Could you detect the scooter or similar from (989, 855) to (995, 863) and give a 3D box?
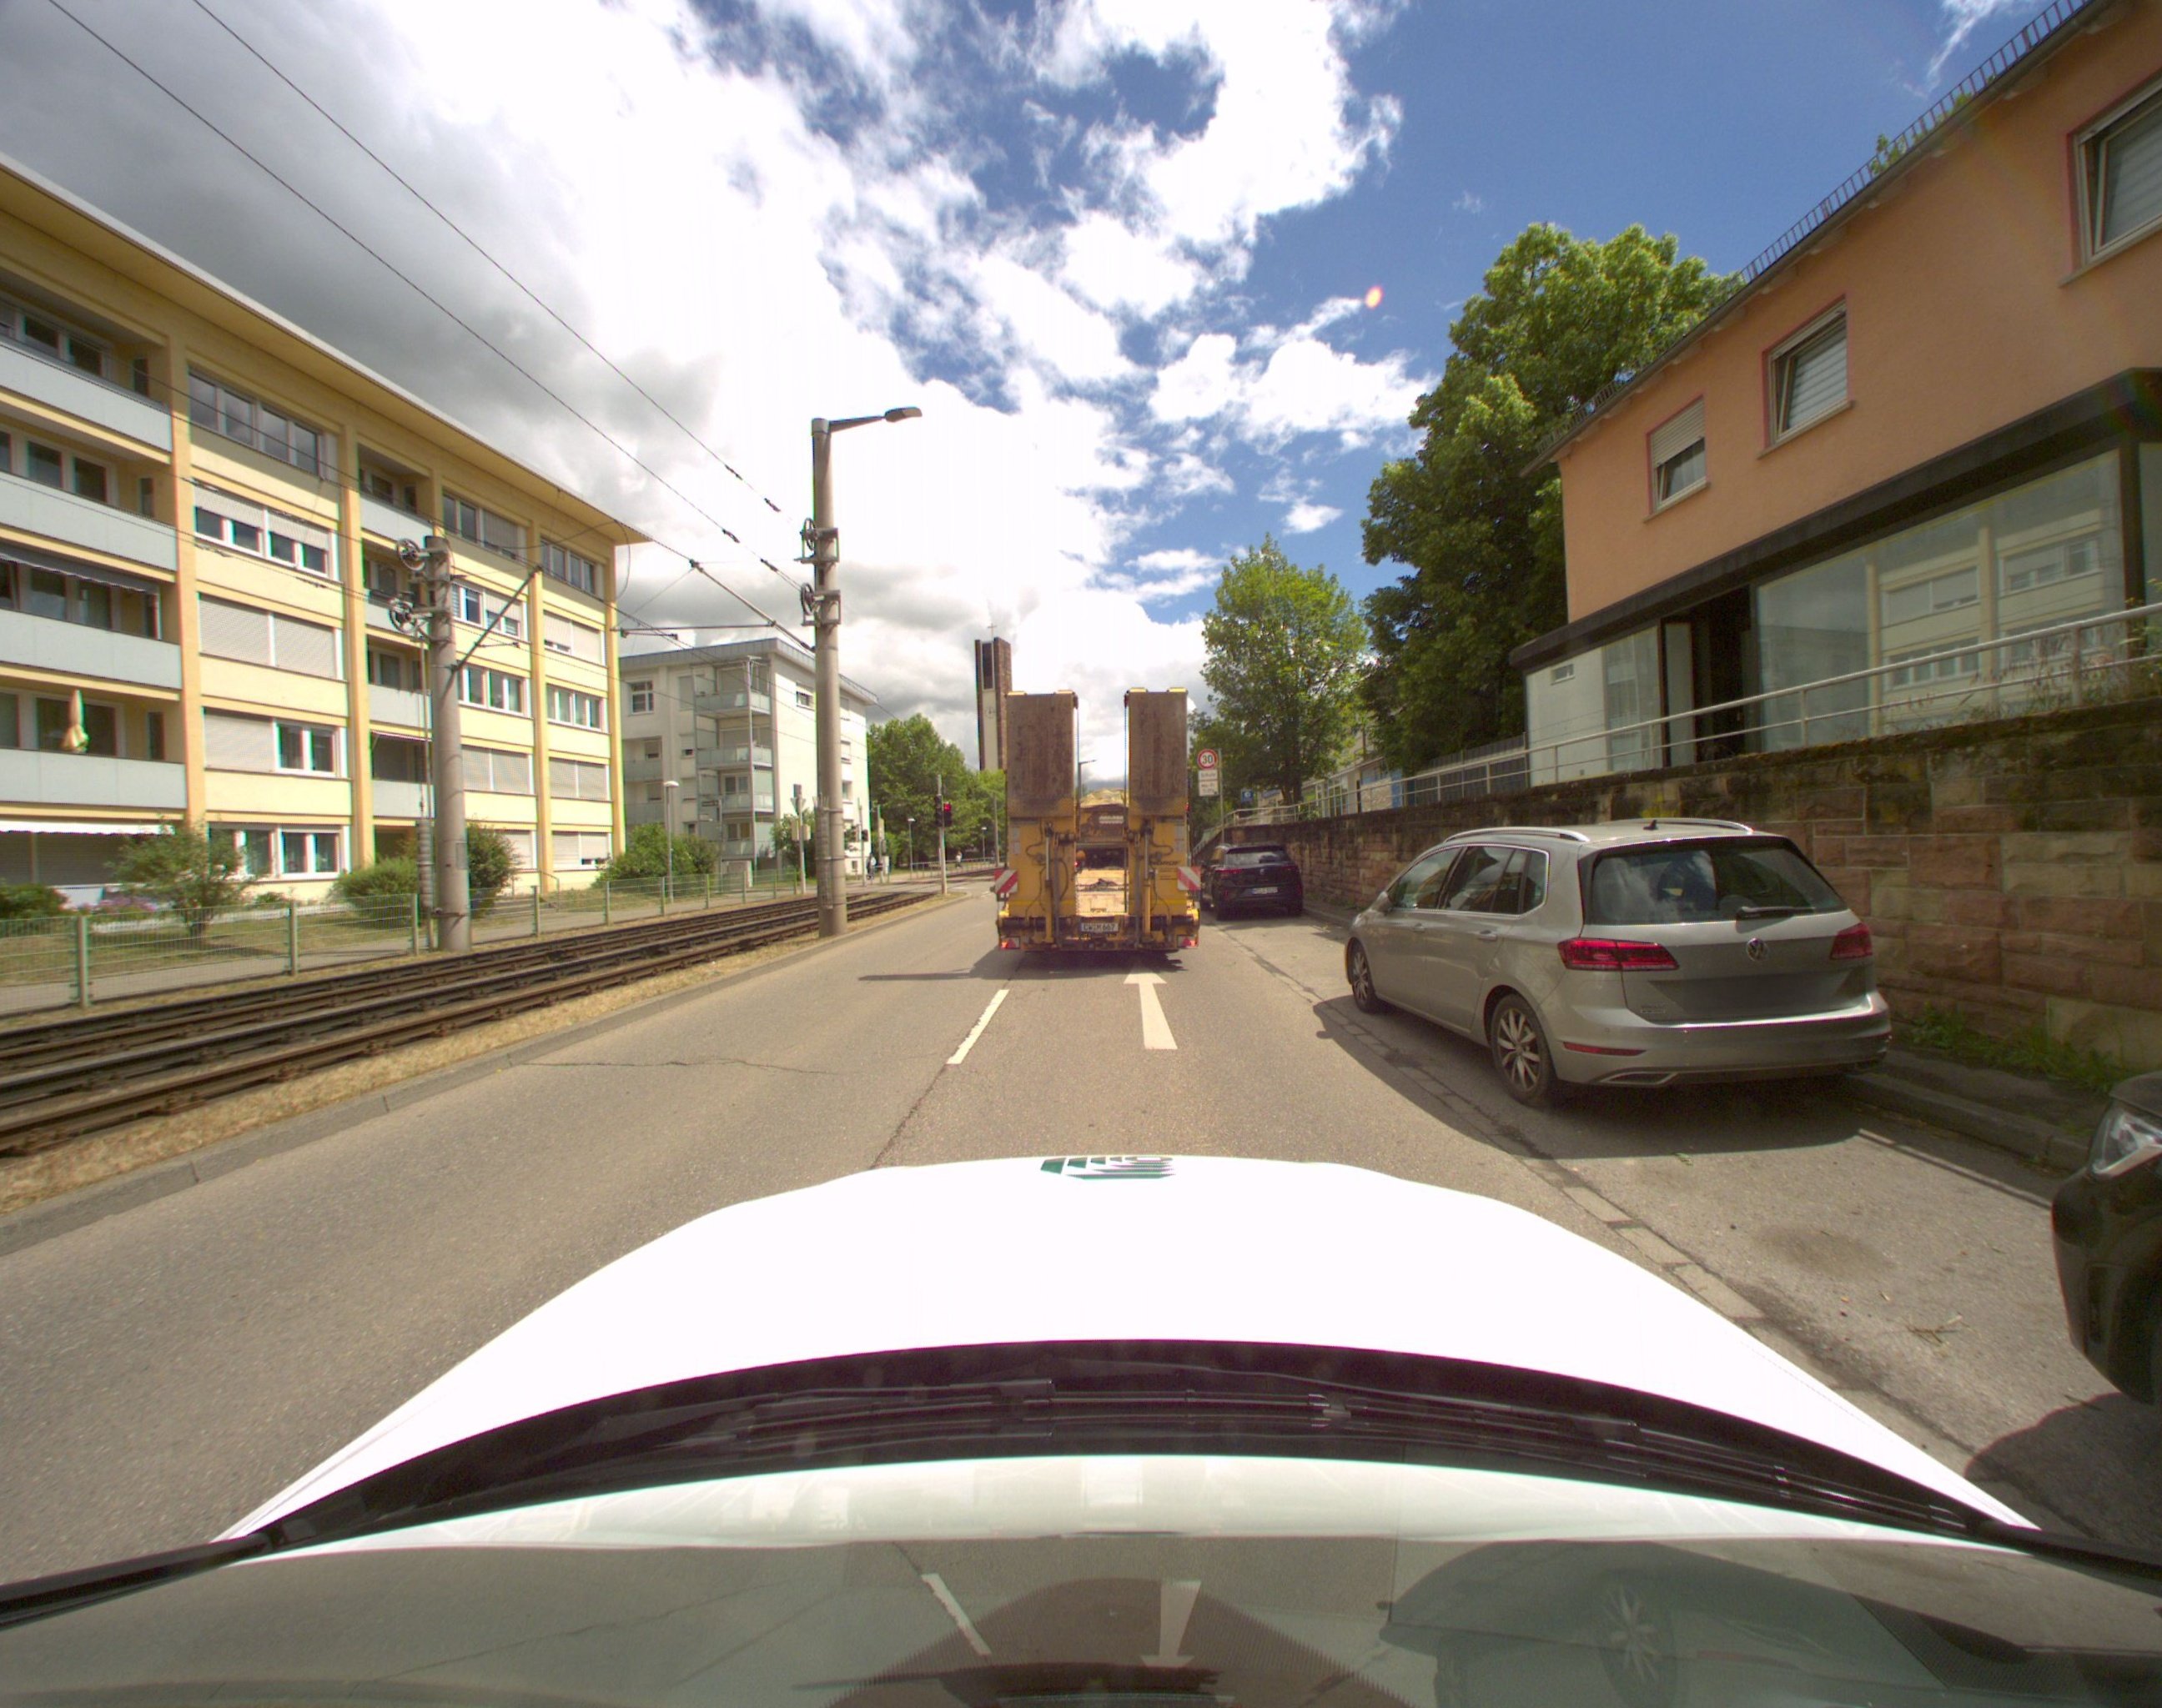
[{"bbox_3d":[-10.004,0.551,91.531,0.504,0.971,0.646,0,0,1],"label":"scooter or similar"}]

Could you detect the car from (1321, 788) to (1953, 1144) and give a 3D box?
[{"bbox_3d":[3.298,0.526,6.041,1.783,1.617,4.249,-3,0,1],"label":"car"}]

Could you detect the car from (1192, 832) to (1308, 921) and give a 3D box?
[{"bbox_3d":[3.607,0.434,18.043,1.843,1.639,4.003,-3,0,3],"label":"car"}]

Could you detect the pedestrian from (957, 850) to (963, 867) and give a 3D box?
[{"bbox_3d":[-11.235,0.420,75.771,0.346,1.537,0.558,-2,0,5],"label":"pedestrian"}]

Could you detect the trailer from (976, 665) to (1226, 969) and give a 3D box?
[{"bbox_3d":[0.455,-0.482,14.284,2.933,3.601,8.690,-2,0,3],"label":"trailer"}]

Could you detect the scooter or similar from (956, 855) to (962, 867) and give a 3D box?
[{"bbox_3d":[-11.262,0.639,75.107,0.336,1.057,0.688,-2,0,5],"label":"scooter or similar"}]

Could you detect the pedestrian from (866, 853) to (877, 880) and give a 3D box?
[{"bbox_3d":[-12.506,0.720,48.653,0.435,1.580,0.475,-2,0,6],"label":"pedestrian"}]

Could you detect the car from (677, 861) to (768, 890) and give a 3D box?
[{"bbox_3d":[-19.071,1.129,43.366,3.962,1.345,1.906,-2,0,10],"label":"car"}]

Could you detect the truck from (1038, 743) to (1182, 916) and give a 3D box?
[{"bbox_3d":[0.717,-0.530,19.708,2.931,3.572,4.880,-2,0,2],"label":"truck"}]

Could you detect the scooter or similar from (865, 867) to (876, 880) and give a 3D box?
[{"bbox_3d":[-12.443,1.142,48.176,0.435,0.747,0.475,-2,0,7],"label":"scooter or similar"}]

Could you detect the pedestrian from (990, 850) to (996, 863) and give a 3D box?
[{"bbox_3d":[-9.970,0.282,92.178,0.562,1.513,0.646,0,0,1],"label":"pedestrian"}]
